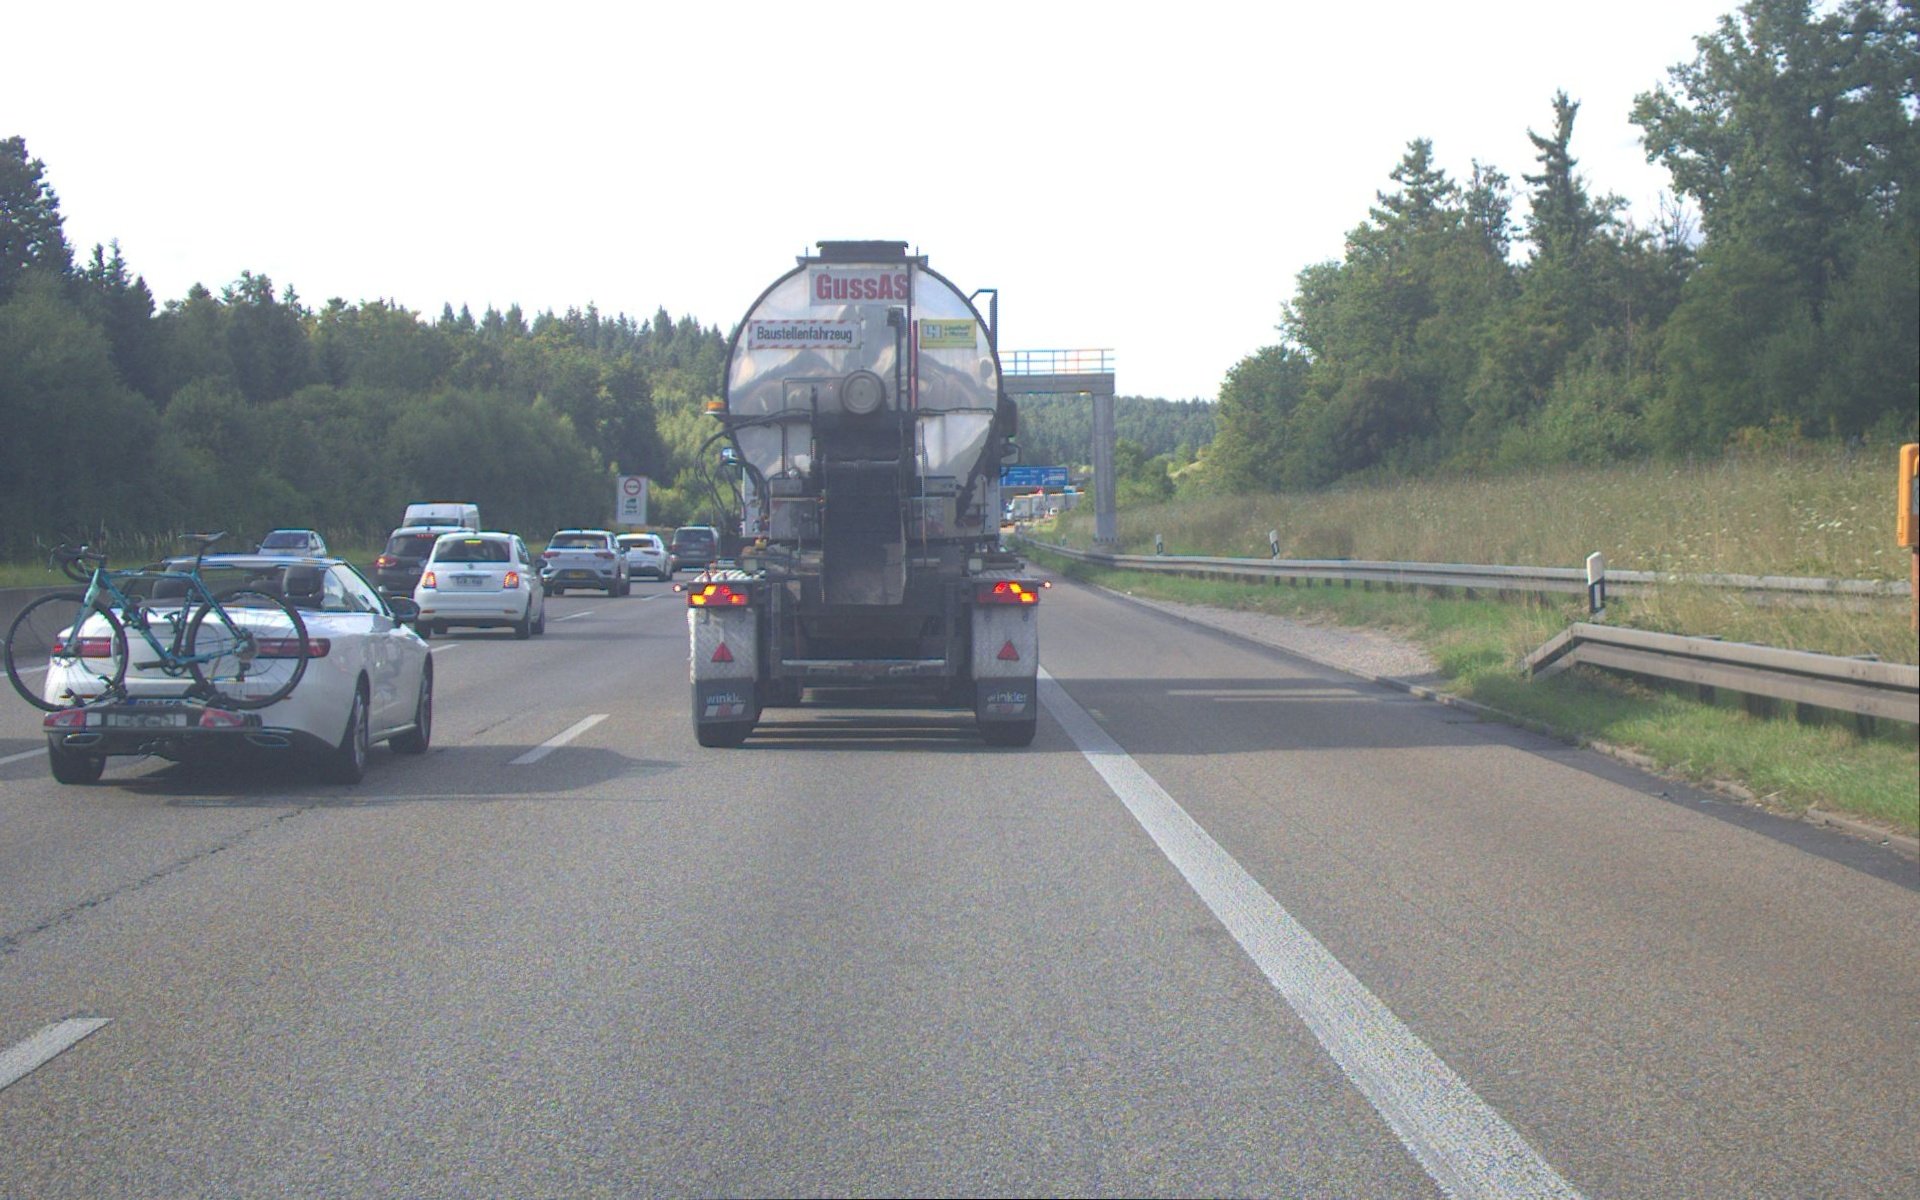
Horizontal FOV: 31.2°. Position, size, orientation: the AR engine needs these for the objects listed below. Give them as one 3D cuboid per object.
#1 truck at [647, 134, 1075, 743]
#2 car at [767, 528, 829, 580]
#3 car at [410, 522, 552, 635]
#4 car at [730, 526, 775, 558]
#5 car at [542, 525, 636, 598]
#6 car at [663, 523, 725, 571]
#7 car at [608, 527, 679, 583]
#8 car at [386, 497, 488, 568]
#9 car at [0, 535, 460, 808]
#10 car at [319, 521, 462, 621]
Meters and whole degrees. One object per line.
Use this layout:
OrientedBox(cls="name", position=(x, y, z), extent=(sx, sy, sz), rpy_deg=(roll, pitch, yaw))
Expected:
OrientedBox(cls="truck", position=(-0.712, -1.224, 29.045), extent=(2.912, 4.143, 11.270), rpy_deg=(0, 1, 0))
OrientedBox(cls="car", position=(-5.406, -1.564, 115.121), extent=(1.942, 1.649, 4.207), rpy_deg=(0, 2, -1))
OrientedBox(cls="car", position=(-6.836, -0.329, 49.332), extent=(1.618, 1.539, 3.520), rpy_deg=(0, 1, -1))
OrientedBox(cls="car", position=(-9.957, -2.819, 165.248), extent=(1.942, 1.451, 4.207), rpy_deg=(0, 2, -1))
OrientedBox(cls="car", position=(-8.547, -0.920, 79.435), extent=(1.806, 1.580, 4.207), rpy_deg=(0, 2, -1))
OrientedBox(cls="car", position=(-9.431, -1.898, 122.156), extent=(1.942, 1.580, 4.207), rpy_deg=(0, 2, -1))
OrientedBox(cls="car", position=(-9.480, -1.381, 103.169), extent=(1.806, 1.580, 4.207), rpy_deg=(0, 2, -1))
OrientedBox(cls="car", position=(-17.445, -2.265, 114.984), extent=(2.579, 2.338, 5.829), rpy_deg=(0, 1, -1))
OrientedBox(cls="car", position=(-4.613, 0.342, 21.921), extent=(2.060, 1.494, 5.736), rpy_deg=(0, 1, -1))
OrientedBox(cls="car", position=(-9.657, -0.518, 58.577), extent=(1.806, 1.580, 4.207), rpy_deg=(0, 2, -1))
